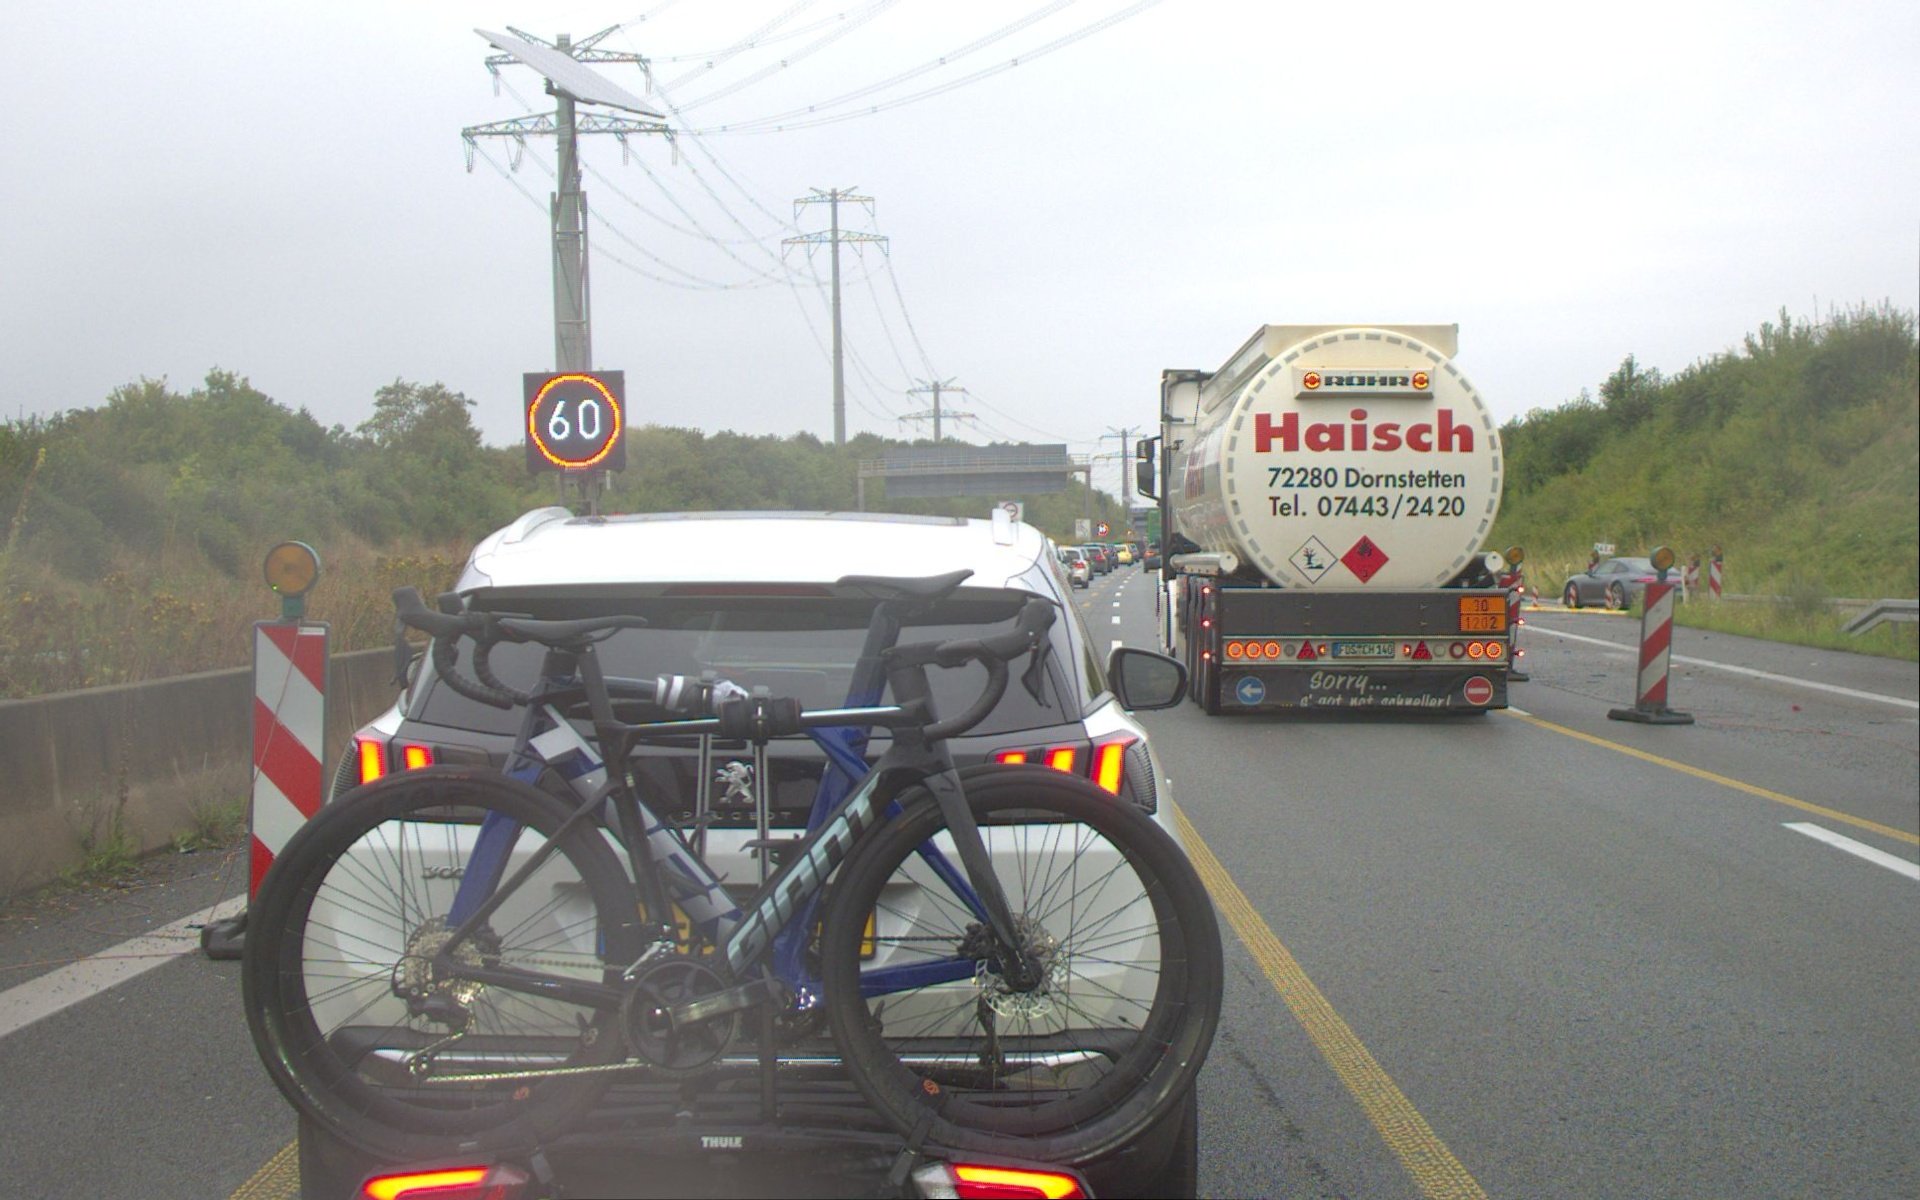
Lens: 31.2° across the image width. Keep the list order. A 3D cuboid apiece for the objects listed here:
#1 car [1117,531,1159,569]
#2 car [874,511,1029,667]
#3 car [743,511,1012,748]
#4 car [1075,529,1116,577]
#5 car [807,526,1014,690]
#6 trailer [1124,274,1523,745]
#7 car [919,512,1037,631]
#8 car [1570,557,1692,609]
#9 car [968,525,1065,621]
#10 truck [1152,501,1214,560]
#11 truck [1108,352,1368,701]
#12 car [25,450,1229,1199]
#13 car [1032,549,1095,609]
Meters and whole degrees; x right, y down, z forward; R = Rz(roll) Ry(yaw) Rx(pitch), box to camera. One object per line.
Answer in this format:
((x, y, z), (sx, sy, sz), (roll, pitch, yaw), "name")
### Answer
((9.634, -2.688, 186.576), (1.993, 2.007, 4.000), (1, 0, -1), "car")
((-0.130, -0.181, 47.402), (1.993, 2.007, 4.000), (-1, 1, 0), "car")
((-0.598, 0.183, 28.197), (1.993, 1.754, 4.000), (-1, 1, 1), "car")
((5.805, -1.997, 146.553), (1.654, 2.007, 4.000), (0, 1, 3), "car")
((-0.504, 0.040, 35.137), (1.993, 1.578, 4.000), (0, 1, -1), "car")
((3.271, -0.790, 33.850), (2.637, 3.880, 10.544), (1, 0, -1), "trailer")
((0.296, -0.537, 61.611), (1.993, 2.007, 4.000), (-2, 1, -1), "car")
((15.642, -0.408, 80.349), (1.482, 1.157, 3.908), (-1, 1, -10), "car")
((1.200, -0.590, 75.140), (1.993, 2.007, 4.000), (1, 0, -1), "car")
((14.935, -4.622, 231.112), (3.732, 3.809, 11.868), (0, 0, 1), "truck")
((3.206, -0.834, 40.549), (2.644, 3.877, 4.030), (1, 0, -1), "truck")
((-0.471, 0.527, 7.797), (1.928, 1.605, 4.595), (0, 1, 2), "car")
((3.571, -0.714, 118.894), (1.993, 2.007, 4.000), (1, 0, -1), "car")
